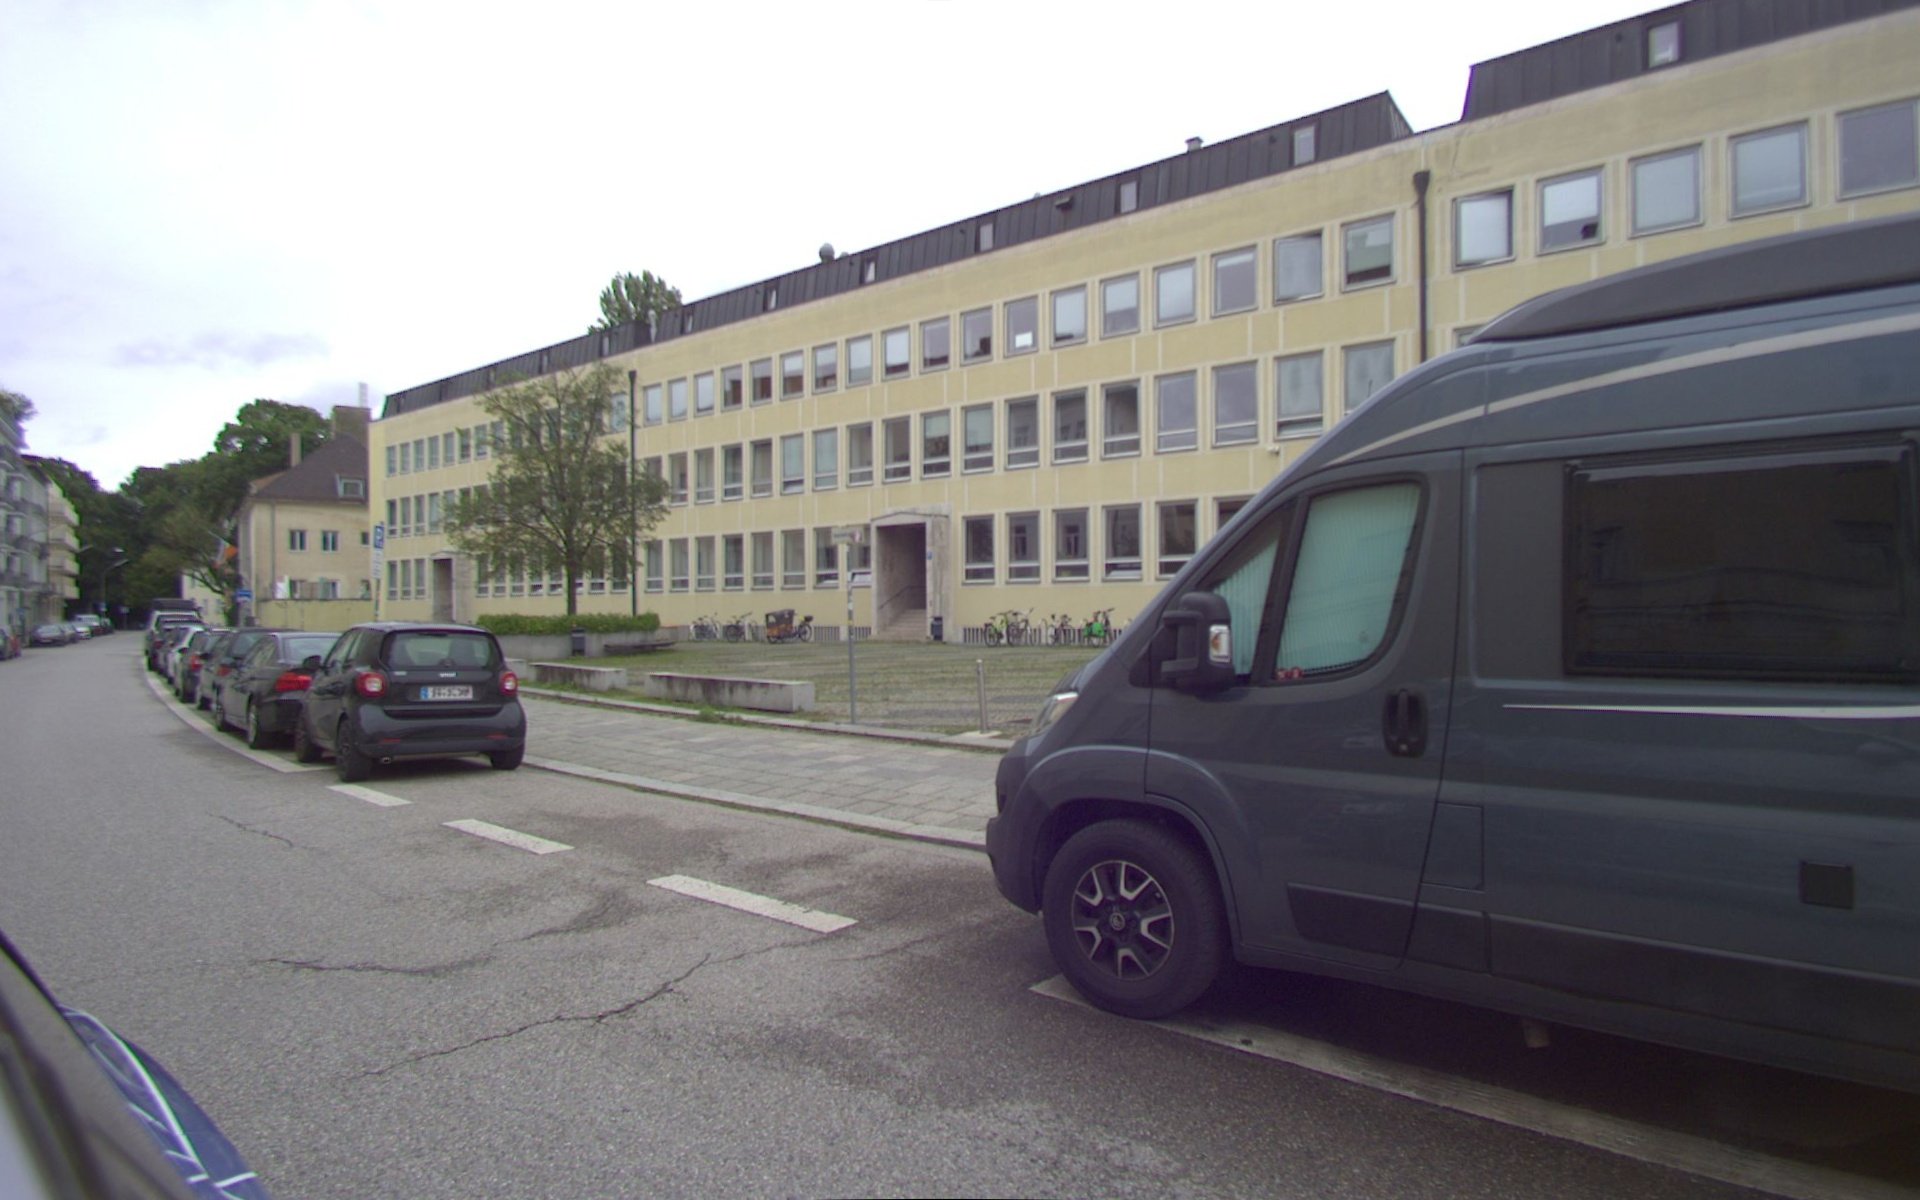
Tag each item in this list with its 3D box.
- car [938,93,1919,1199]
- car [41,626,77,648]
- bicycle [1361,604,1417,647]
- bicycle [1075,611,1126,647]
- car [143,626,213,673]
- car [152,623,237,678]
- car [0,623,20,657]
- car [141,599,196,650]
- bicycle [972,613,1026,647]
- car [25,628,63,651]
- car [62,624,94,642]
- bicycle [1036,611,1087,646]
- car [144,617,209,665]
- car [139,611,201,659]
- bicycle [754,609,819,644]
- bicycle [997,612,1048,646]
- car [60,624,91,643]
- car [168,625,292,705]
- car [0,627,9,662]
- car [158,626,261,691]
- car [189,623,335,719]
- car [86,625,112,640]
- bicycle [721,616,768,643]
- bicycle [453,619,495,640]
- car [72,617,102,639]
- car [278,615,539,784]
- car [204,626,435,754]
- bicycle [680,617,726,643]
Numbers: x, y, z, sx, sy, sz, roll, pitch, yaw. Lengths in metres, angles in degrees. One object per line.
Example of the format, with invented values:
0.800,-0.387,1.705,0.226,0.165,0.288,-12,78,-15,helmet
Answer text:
2.936,0.164,3.150,6.007,2.662,2.144,-2,-2,37,car
-64.765,2.614,72.759,1.739,1.468,3.754,-1,0,-39,car
10.819,0.633,25.480,0.626,1.022,1.925,-2,-1,44,bicycle
4.166,0.846,29.959,0.624,1.022,1.928,-2,-1,37,bicycle
-25.769,1.594,33.307,1.659,1.465,3.876,2,-2,-39,car
-22.221,1.419,29.335,1.636,1.465,3.979,2,-2,-42,car
-44.671,1.844,46.707,1.658,1.509,3.830,-1,0,-40,car
-43.546,1.330,55.792,2.267,2.666,5.665,1,-2,-37,car
1.237,0.936,31.927,0.625,1.022,1.927,-2,-1,40,bicycle
-59.008,2.513,65.213,1.758,1.404,4.252,-1,0,-42,car
-76.247,2.802,87.528,1.738,1.468,3.756,-1,0,-35,car
3.137,0.862,31.035,0.624,1.022,1.928,-2,-1,37,bicycle
-29.096,1.498,37.530,1.721,1.679,4.456,4,-3,-39,car
-35.433,1.528,45.345,1.904,1.994,5.029,1,-2,-41,car
-6.551,0.979,38.396,1.054,1.257,2.414,-2,-1,34,bicycle
1.969,0.892,31.532,0.624,1.022,1.928,-2,-1,37,bicycle
-72.118,2.738,82.507,1.739,1.468,3.754,-1,0,-39,car
-14.996,1.248,20.695,1.733,1.465,4.403,2,-2,-40,car
-41.260,1.883,42.499,1.658,1.420,4.429,-1,0,-39,car
-18.416,1.371,24.765,1.636,1.465,4.078,2,-2,-42,car
-12.001,1.142,17.327,1.636,1.465,3.316,2,-2,-42,car
-90.926,3.401,106.918,1.842,1.475,4.277,-1,0,-37,car
-8.522,1.149,40.130,0.624,1.022,1.930,-2,-1,34,bicycle
-25.513,1.542,53.156,0.579,1.022,1.931,-2,1,34,bicycle
-81.334,2.599,94.359,1.842,2.029,4.277,-1,0,-37,car
-5.902,0.939,10.721,1.651,1.513,2.979,2,-2,-45,car
-8.644,1.062,13.480,1.777,1.416,4.459,2,-2,-43,car
-10.510,1.212,41.450,0.624,1.022,1.930,-2,-1,34,bicycle
